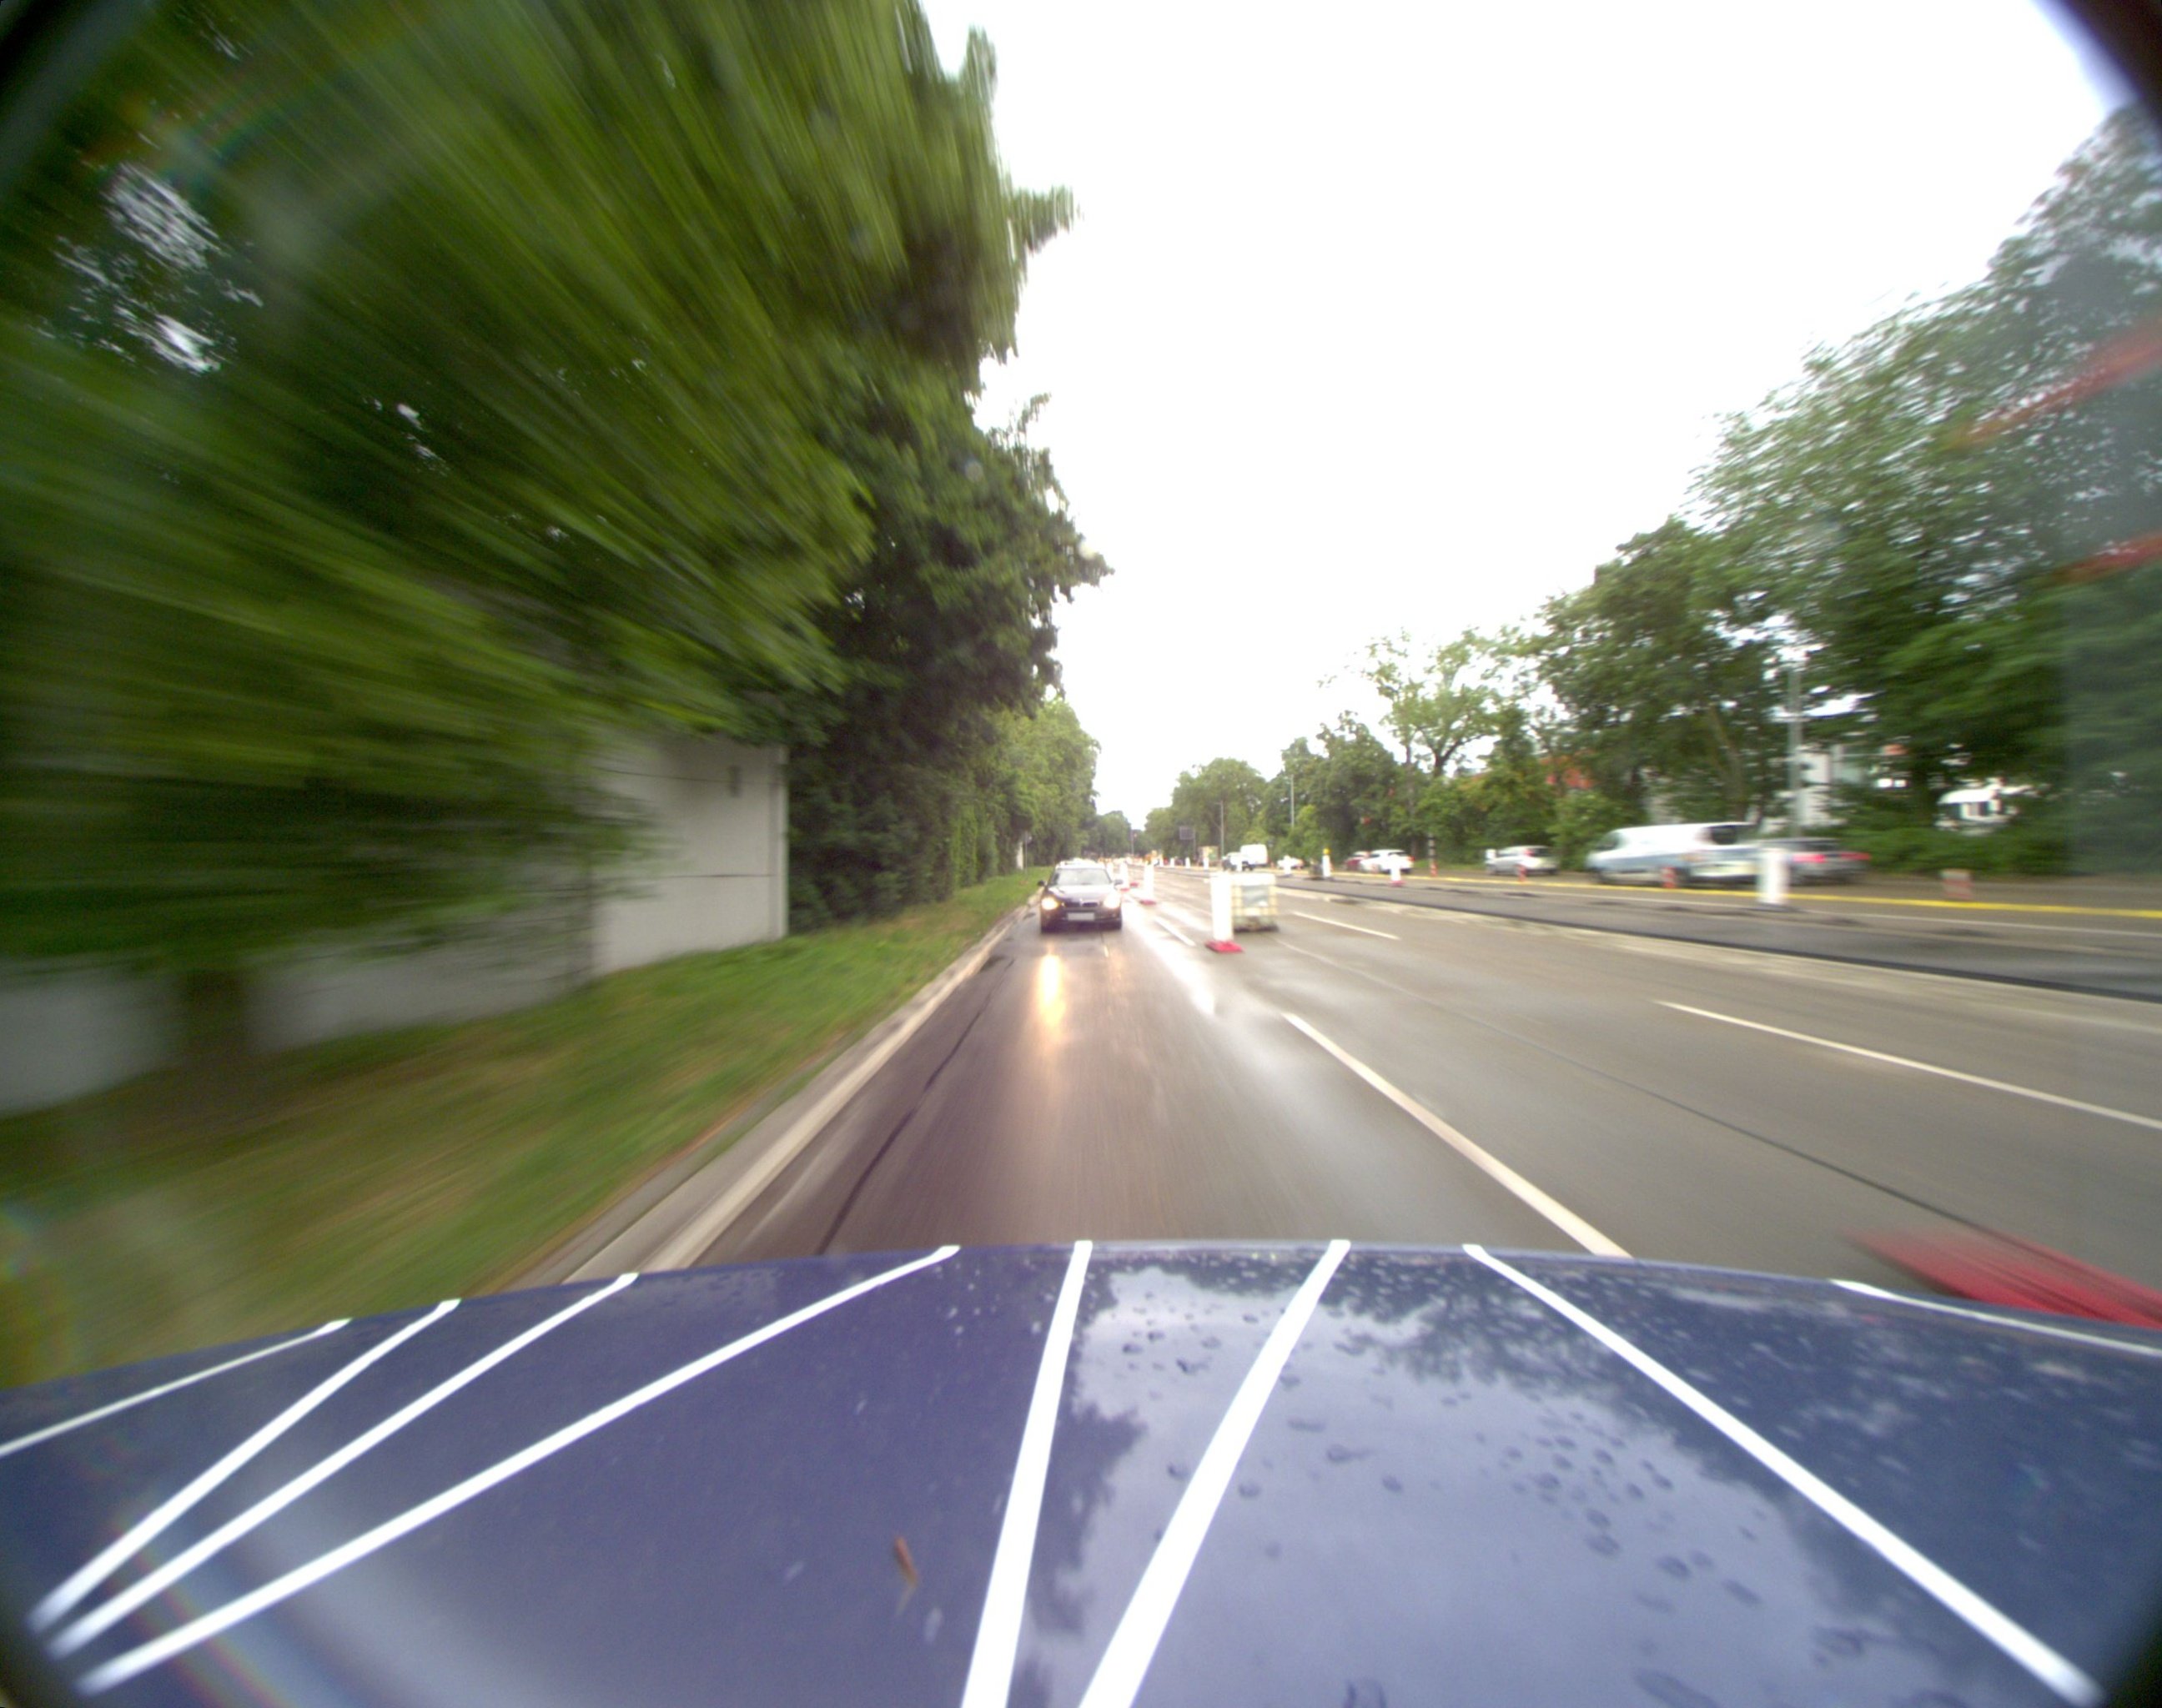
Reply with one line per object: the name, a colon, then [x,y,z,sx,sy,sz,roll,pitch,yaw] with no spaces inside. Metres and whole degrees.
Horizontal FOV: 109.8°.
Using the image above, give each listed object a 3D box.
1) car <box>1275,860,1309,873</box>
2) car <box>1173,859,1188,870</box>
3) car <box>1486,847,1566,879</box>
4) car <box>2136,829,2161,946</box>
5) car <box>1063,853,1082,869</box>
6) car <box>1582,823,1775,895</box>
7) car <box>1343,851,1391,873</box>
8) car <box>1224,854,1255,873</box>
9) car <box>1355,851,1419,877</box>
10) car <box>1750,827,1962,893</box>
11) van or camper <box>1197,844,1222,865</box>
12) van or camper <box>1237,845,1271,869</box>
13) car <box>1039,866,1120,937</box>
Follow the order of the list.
car: [20.302,1.197,73.405,1.694,1.176,3.998,-3,0,-8]
car: [17.093,1.813,130.726,1.999,1.683,4.806,-1,0,-1]
car: [21.313,0.441,36.536,1.683,1.392,3.639,-2,0,1]
car: [15.369,0.383,8.179,1.893,1.555,4.363,-3,0,-1]
car: [-0.929,0.778,87.825,1.998,1.707,4.000,-1,0,1]
car: [18.416,0.153,23.803,1.999,1.960,4.902,-2,0,-2]
car: [20.945,0.567,55.893,1.733,1.467,4.486,-1,0,-1]
car: [14.470,0.808,69.650,1.998,1.619,4.812,-2,0,2]
car: [18.308,0.552,45.702,1.999,1.407,4.392,-1,1,-1]
car: [21.521,0.153,21.380,1.832,1.612,4.000,-3,0,0]
van or camper: [20.048,0.062,118.881,2.303,3.044,7.451,-2,0,-1]
van or camper: [20.185,0.356,88.886,1.999,2.539,7.729,-3,0,0]
car: [-0.073,1.009,17.789,1.658,1.409,4.129,-1,0,-1]
